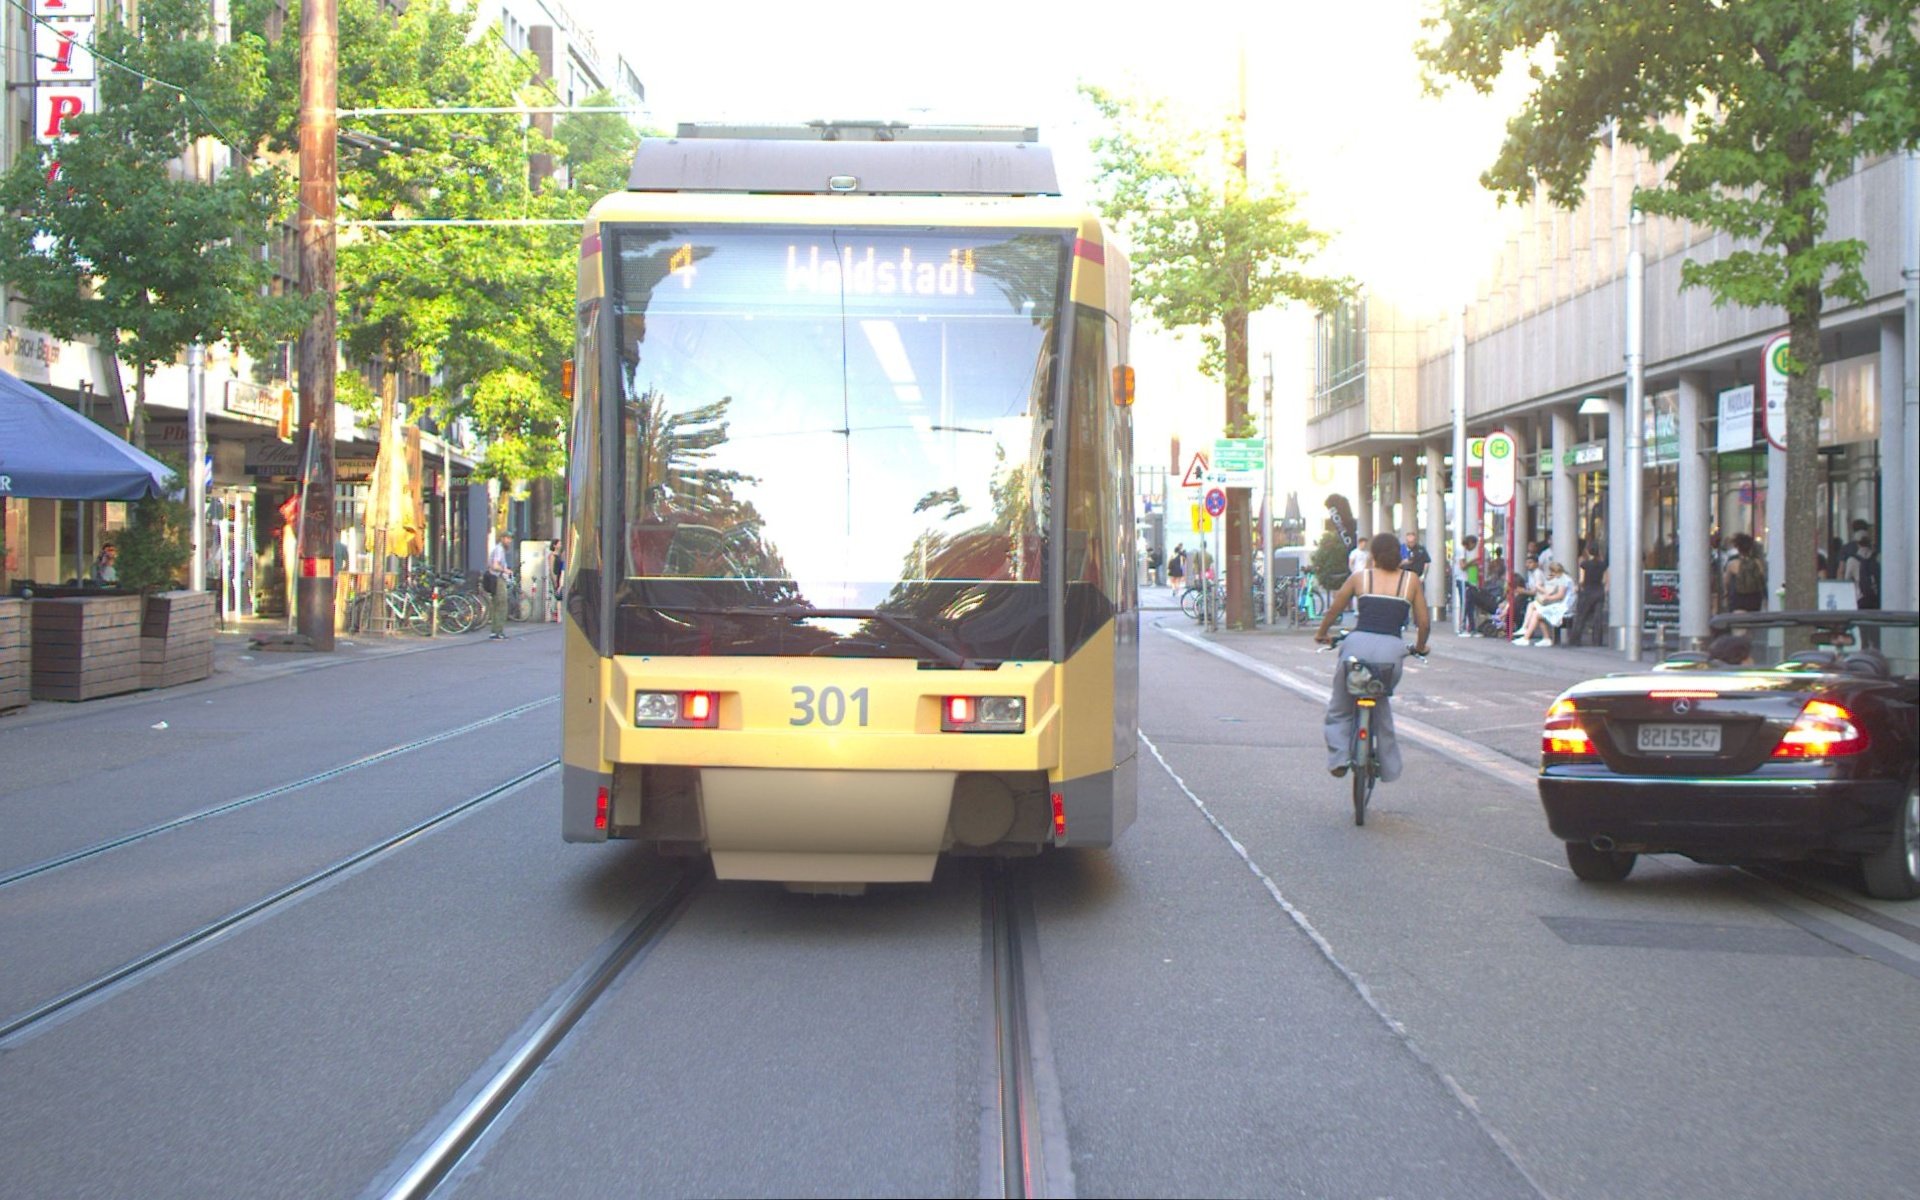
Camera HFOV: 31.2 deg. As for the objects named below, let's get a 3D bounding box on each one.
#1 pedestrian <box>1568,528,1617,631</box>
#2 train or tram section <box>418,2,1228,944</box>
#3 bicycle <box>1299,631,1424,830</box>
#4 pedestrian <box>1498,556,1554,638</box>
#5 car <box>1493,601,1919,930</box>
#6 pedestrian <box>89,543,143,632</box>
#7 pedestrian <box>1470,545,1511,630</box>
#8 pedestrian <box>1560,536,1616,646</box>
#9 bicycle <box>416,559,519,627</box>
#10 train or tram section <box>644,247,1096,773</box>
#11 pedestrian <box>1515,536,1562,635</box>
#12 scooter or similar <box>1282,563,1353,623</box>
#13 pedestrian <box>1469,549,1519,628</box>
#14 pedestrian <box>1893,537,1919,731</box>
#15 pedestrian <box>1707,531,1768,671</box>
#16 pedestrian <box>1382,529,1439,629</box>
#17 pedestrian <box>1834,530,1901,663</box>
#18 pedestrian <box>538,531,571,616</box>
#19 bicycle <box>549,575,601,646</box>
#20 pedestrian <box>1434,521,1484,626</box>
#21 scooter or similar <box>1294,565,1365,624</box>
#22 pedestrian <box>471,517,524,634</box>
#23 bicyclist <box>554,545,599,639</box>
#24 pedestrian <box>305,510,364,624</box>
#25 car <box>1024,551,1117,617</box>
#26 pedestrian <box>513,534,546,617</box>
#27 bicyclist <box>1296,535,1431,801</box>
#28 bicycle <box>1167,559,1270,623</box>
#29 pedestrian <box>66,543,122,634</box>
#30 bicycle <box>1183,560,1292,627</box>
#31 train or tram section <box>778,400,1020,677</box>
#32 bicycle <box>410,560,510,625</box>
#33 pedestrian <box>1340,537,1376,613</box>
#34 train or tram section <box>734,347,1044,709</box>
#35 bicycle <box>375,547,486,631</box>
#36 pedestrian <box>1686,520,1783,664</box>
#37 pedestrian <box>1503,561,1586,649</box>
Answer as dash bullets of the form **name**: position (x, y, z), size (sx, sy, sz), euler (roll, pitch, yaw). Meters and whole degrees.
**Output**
- **pedestrian**: position (11.466, -0.383, 62.373), size (0.701, 1.833, 0.829), euler (-2, 2, 1)
- **train or tram section**: position (-0.559, -0.521, 18.083), size (3.016, 3.511, 10.371), euler (0, 0, 0)
- **bicycle**: position (2.398, 0.744, 20.377), size (0.656, 1.057, 2.056), euler (2, 1, 8)
- **pedestrian**: position (9.449, -0.057, 57.428), size (0.806, 1.323, 0.626), euler (-2, 2, 1)
- **car**: position (4.347, 0.728, 17.520), size (1.804, 1.344, 4.439), euler (1, 1, 29)
- **pedestrian**: position (-12.833, -0.184, 52.282), size (0.574, 1.315, 0.725), euler (3, 0, 1)
- **pedestrian**: position (10.655, -0.250, 69.058), size (0.701, 1.678, 0.680), euler (-2, 2, 1)
- **pedestrian**: position (9.545, -0.145, 52.255), size (0.701, 1.632, 0.646), euler (-2, 2, 1)
- **bicycle**: position (-8.758, -0.125, 61.191), size (1.733, 1.122, 0.613), euler (3, 0, -6)
- **train or tram section**: position (-0.657, -0.674, 28.473), size (3.007, 3.511, 10.402), euler (1, 1, 0)
- **pedestrian**: position (10.868, -0.279, 64.603), size (0.701, 1.833, 0.829), euler (-2, 2, 1)
- **scooter or similar**: position (7.530, -0.153, 72.479), size (1.379, 1.246, 0.556), euler (0, 0, -7)
- **pedestrian**: position (9.203, -0.207, 59.235), size (0.739, 1.323, 0.720), euler (-2, 2, 1)
- **pedestrian**: position (8.294, 0.282, 28.452), size (0.877, 1.576, 0.755), euler (2, 2, 0)
- **pedestrian**: position (10.393, 0.006, 45.987), size (0.596, 1.833, 0.829), euler (-2, 2, 1)
- **pedestrian**: position (8.156, -0.380, 62.208), size (0.888, 1.776, 0.751), euler (1, 0, -1)
- **pedestrian**: position (11.280, -0.054, 42.745), size (0.596, 1.610, 0.829), euler (-2, 2, 1)
- **pedestrian**: position (-8.257, -0.538, 70.051), size (0.551, 1.681, 0.576), euler (3, 0, -4)
- **bicycle**: position (-5.831, 0.150, 52.162), size (0.641, 1.019, 1.589), euler (2, 1, -2)
- **pedestrian**: position (8.554, -0.448, 58.998), size (0.749, 1.776, 0.891), euler (1, 0, 4)
- **scooter or similar**: position (7.693, -0.121, 71.586), size (1.379, 1.206, 0.516), euler (0, 0, -13)
- **pedestrian**: position (-7.605, -0.402, 56.557), size (0.750, 1.873, 0.576), euler (3, 0, -4)
- **bicyclist**: position (-5.818, -0.121, 52.172), size (0.620, 1.411, 0.700), euler (1, 0, -2)
- **pedestrian**: position (-11.189, -0.587, 61.507), size (0.849, 2.007, 0.921), euler (1, 0, 0)
- **car**: position (2.812, -0.392, 86.763), size (1.643, 1.588, 3.917), euler (1, 0, 12)
- **pedestrian**: position (-8.852, -0.497, 70.736), size (0.573, 1.681, 0.553), euler (3, 0, -9)
- **bicyclist**: position (2.398, 0.393, 20.381), size (0.727, 1.521, 0.733), euler (2, 0, 8)
- **bicycle**: position (6.099, -0.222, 81.129), size (2.328, 1.466, 0.791), euler (1, 0, -3)
- **pedestrian**: position (-12.835, -0.175, 50.981), size (0.574, 1.315, 0.725), euler (3, 0, 1)
- **bicycle**: position (6.219, -0.150, 77.036), size (2.328, 1.466, 0.791), euler (1, 0, -3)
- **train or tram section**: position (-0.831, -0.862, 49.807), size (3.044, 3.511, 10.531), euler (1, 1, -1)
- **bicycle**: position (-9.255, -0.138, 63.624), size (1.733, 1.122, 0.563), euler (3, 0, -3)
- **pedestrian**: position (9.066, -0.575, 78.359), size (0.701, 1.678, 0.680), euler (-2, 2, 1)
- **train or tram section**: position (-0.746, -0.771, 39.105), size (3.003, 3.511, 10.845), euler (1, 1, 0)
- **bicycle**: position (-9.164, -0.185, 59.436), size (1.796, 1.355, 0.660), euler (3, 0, -12)
- **pedestrian**: position (10.377, -0.118, 46.084), size (1.053, 1.870, 0.929), euler (-2, 2, 1)
- **pedestrian**: position (9.117, 0.078, 53.664), size (1.112, 1.323, 0.926), euler (-2, 1, 1)
